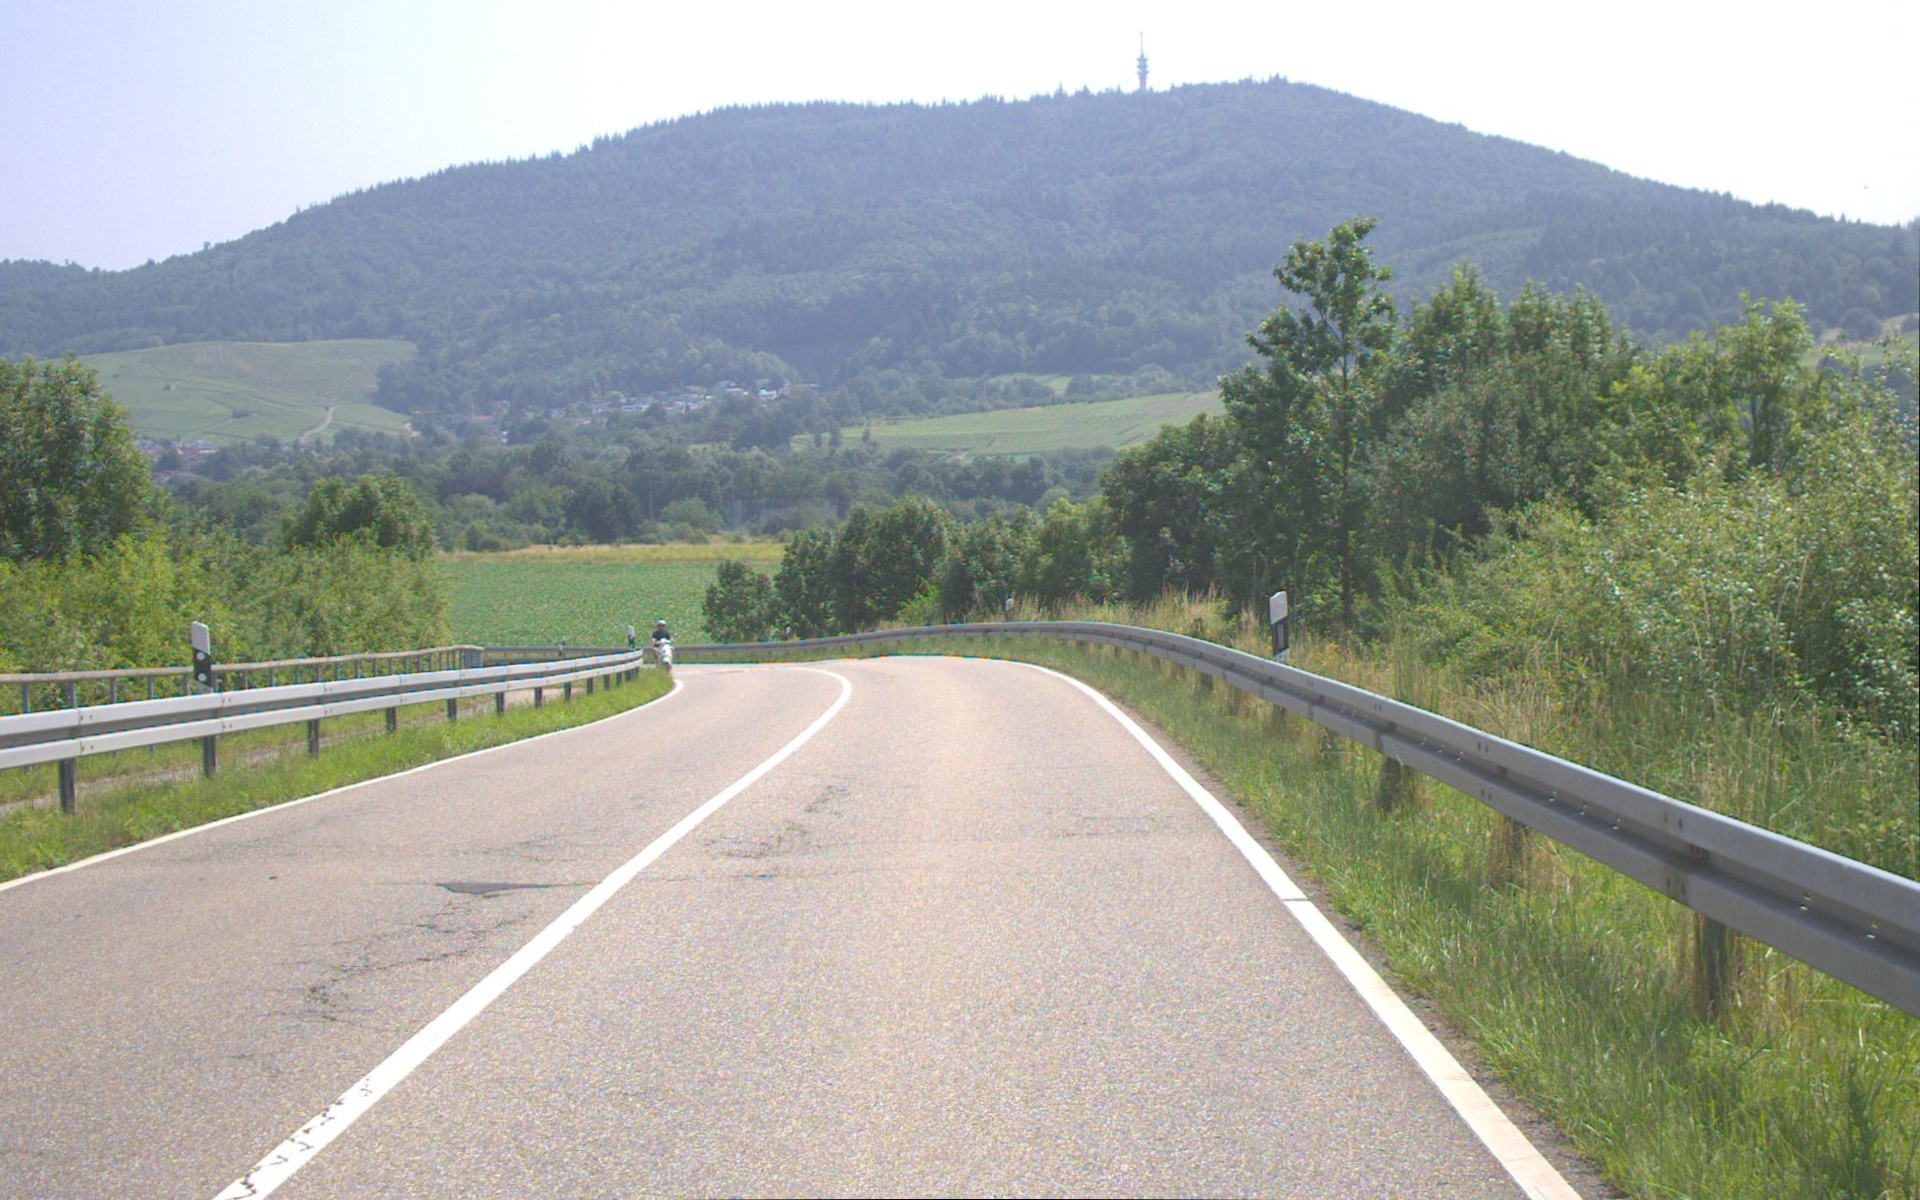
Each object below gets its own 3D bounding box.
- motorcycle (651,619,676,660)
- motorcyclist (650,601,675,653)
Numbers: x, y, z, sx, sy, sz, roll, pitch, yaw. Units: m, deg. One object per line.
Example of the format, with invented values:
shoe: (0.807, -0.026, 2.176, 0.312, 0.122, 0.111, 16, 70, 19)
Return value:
motorcycle: (-9.203, 1.219, 106.603, 0.643, 1.219, 1.638, -5, 0, -6)
motorcyclist: (-9.227, 0.824, 106.622, 0.654, 1.557, 0.775, -5, 0, -6)
